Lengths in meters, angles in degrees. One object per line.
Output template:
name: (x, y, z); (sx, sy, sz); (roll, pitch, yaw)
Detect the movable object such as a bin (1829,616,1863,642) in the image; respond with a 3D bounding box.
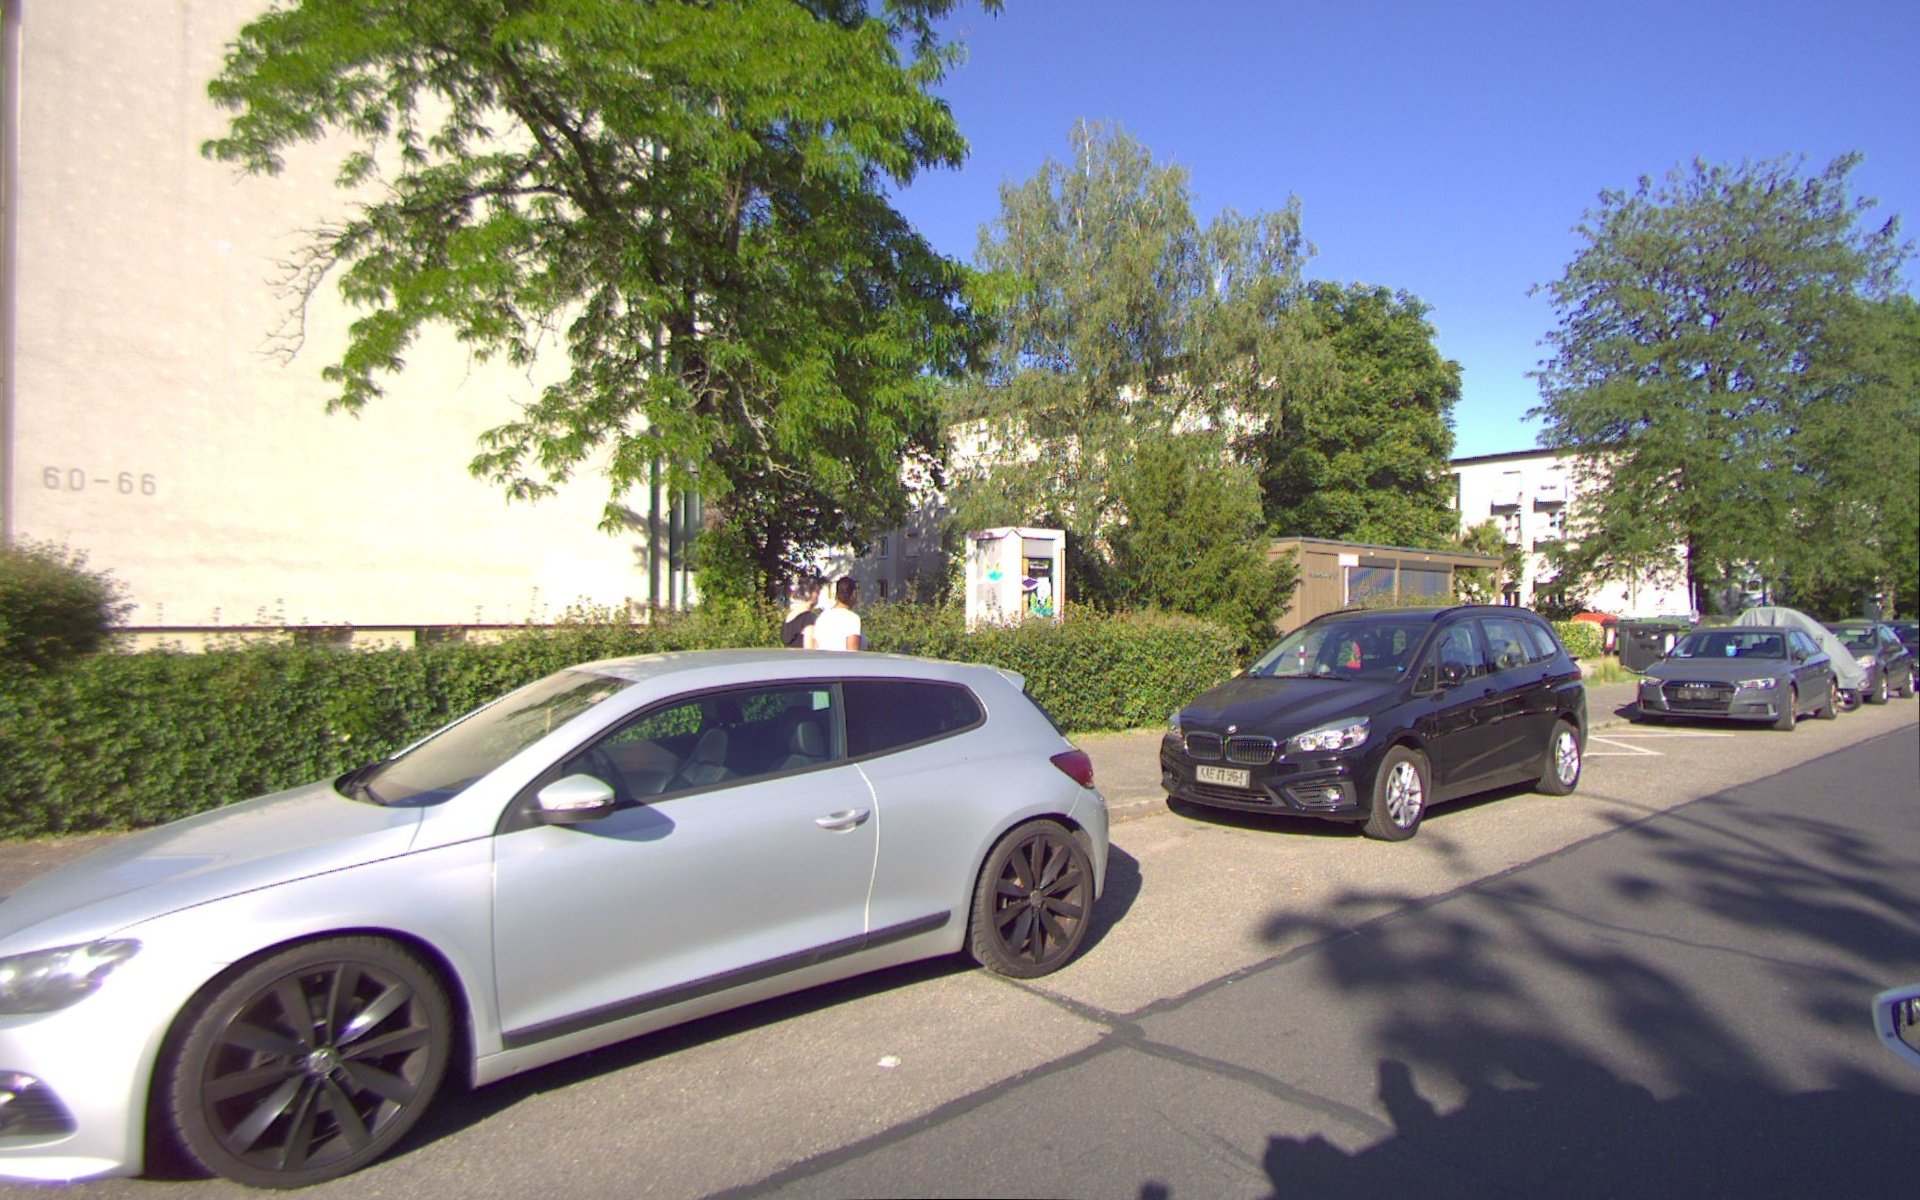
movable object such as a bin: (51.594, 1.701, 58.471); (1.449, 1.440, 1.169); (1, 2, -37)

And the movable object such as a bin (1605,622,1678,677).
movable object such as a bin: (16.973, 1.213, 25.009); (1.331, 1.305, 1.168); (1, 0, -38)

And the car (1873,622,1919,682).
car: (25.734, 1.329, 26.590); (4.501, 1.500, 1.740); (1, -3, -41)

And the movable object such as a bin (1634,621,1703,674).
movable object such as a bin: (19.019, 1.244, 26.956); (1.331, 1.358, 1.169); (1, 0, -38)

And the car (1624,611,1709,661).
car: (25.078, 1.241, 35.608); (3.969, 1.663, 1.556); (1, 0, -41)

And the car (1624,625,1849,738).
car: (11.684, 1.128, 15.022); (4.233, 1.439, 1.740); (1, -3, -39)

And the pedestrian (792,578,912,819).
pedestrian: (-0.819, 0.699, 7.558); (0.611, 1.701, 0.715); (1, 0, -39)

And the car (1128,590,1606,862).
car: (3.486, 0.835, 8.213); (4.333, 1.657, 1.740); (1, -3, -39)

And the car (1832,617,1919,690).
car: (21.839, 1.210, 23.418); (3.691, 1.594, 1.740); (1, -3, -41)

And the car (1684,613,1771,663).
car: (25.772, 1.231, 33.675); (3.969, 1.545, 1.556); (1, 0, -41)

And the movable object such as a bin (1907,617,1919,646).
movable object such as a bin: (47.008, 1.543, 48.873); (1.429, 1.401, 1.127); (1, 2, -38)

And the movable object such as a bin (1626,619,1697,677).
movable object such as a bin: (18.041, 1.200, 25.846); (1.331, 1.427, 1.168); (1, 0, -38)

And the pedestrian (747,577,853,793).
pedestrian: (-1.341, 0.677, 8.390); (0.595, 1.701, 0.715); (1, 0, -39)

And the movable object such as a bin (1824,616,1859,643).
movable object such as a bin: (50.352, 1.683, 57.374); (1.449, 1.440, 1.169); (1, 2, -37)

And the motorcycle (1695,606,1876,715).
motorcycle: (14.197, 1.043, 17.328); (0.925, 1.749, 2.237); (1, -3, -41)

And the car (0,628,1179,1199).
car: (-1.181, 0.865, 4.027); (4.172, 1.443, 1.742); (1, -4, -37)

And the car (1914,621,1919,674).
car: (30.512, 1.430, 30.817); (3.117, 1.594, 1.433); (1, -3, -40)

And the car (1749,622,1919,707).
car: (17.146, 1.209, 19.651); (3.923, 1.500, 1.741); (1, -3, -38)

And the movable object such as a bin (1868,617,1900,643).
movable object such as a bin: (54.028, 1.747, 58.735); (1.348, 1.440, 1.126); (1, 2, -38)
